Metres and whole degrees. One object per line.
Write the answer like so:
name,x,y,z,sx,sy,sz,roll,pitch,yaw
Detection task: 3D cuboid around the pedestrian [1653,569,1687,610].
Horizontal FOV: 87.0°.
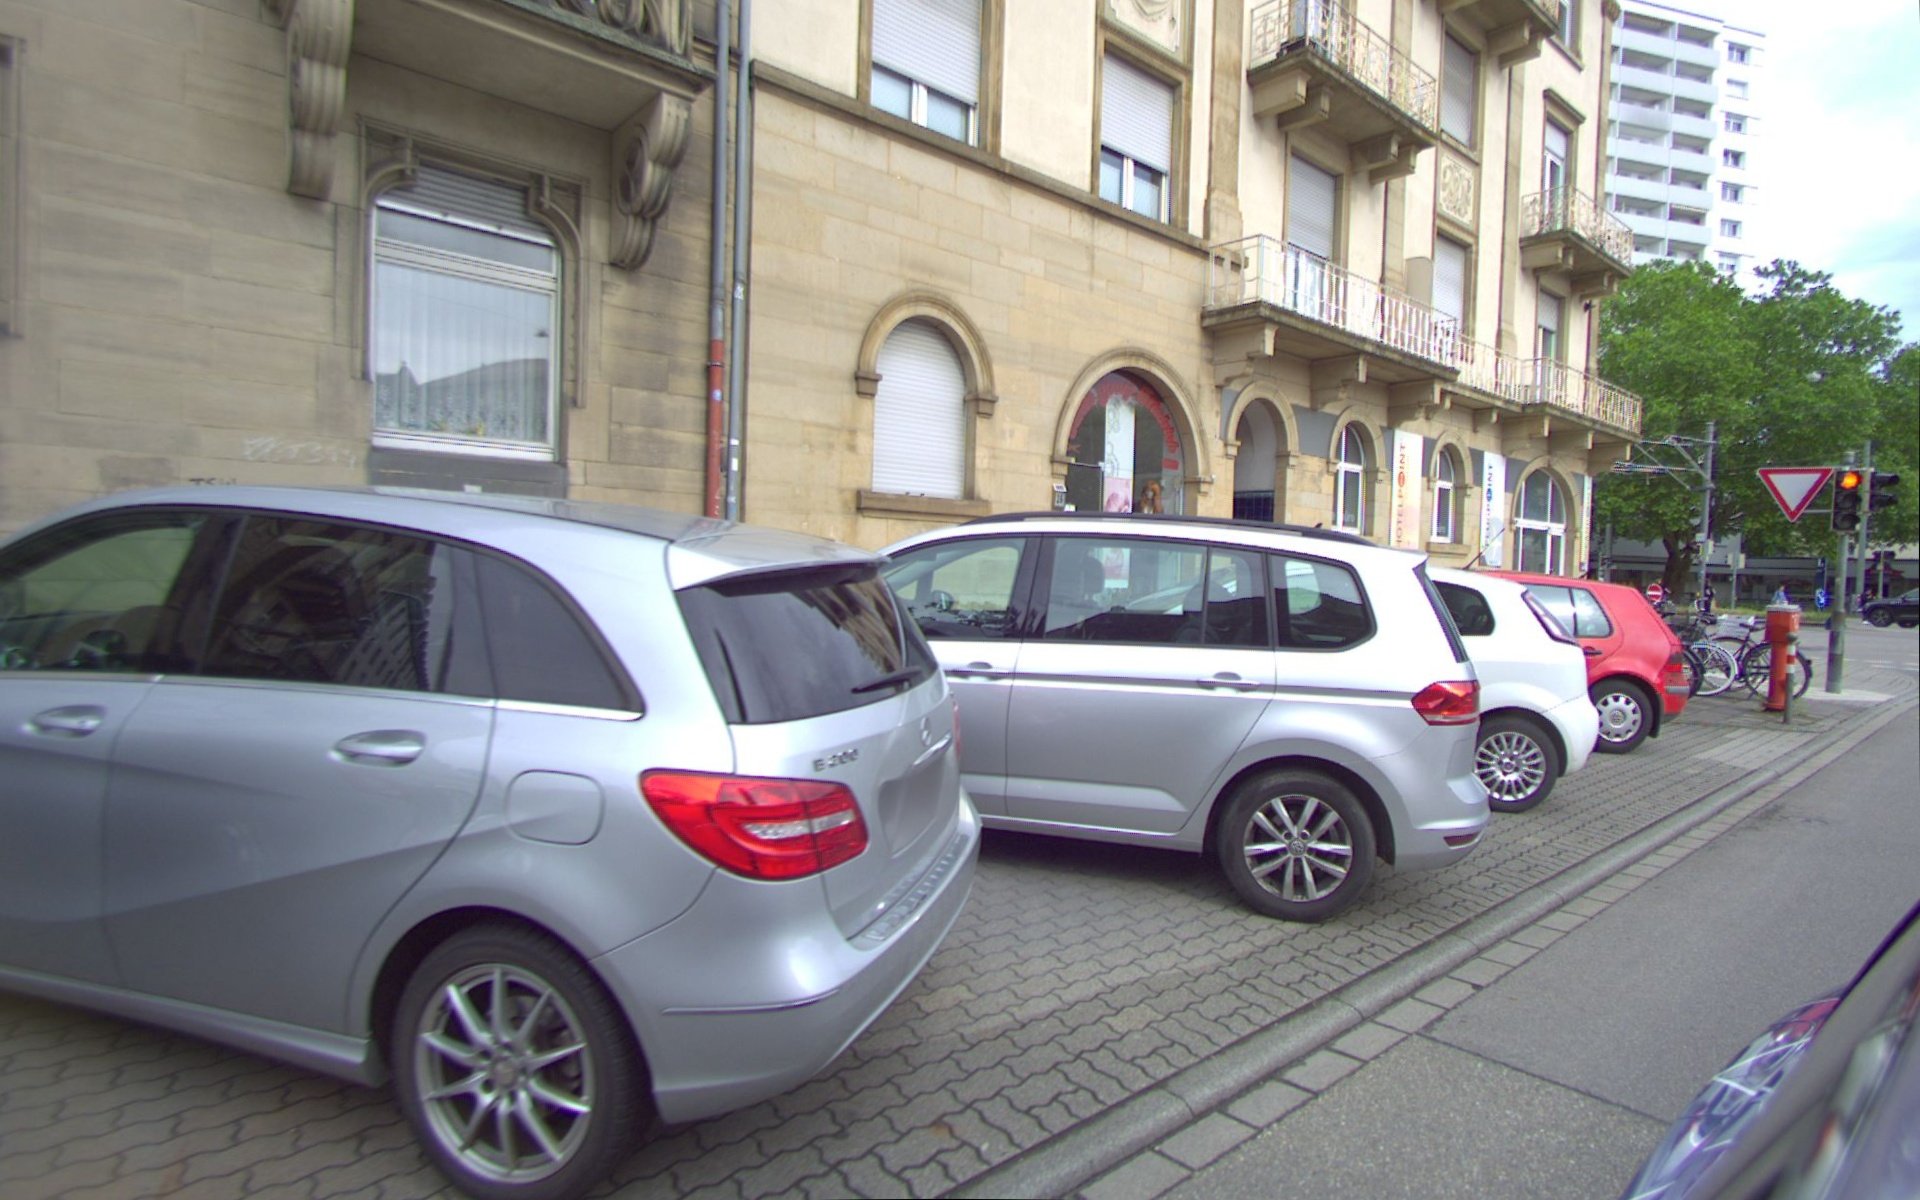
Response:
pedestrian,29.738,-0.444,42.376,0.727,1.716,0.881,-1,1,-15

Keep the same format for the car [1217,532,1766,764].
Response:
car,4.425,0.316,8.978,3.765,1.579,1.795,4,4,4

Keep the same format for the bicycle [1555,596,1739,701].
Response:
bicycle,8.337,0.552,12.350,0.468,1.051,1.737,-2,6,-41

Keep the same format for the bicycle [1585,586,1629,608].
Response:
bicycle,35.028,-0.181,54.844,0.714,1.077,1.997,2,1,-16

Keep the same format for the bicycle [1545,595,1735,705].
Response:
bicycle,7.917,0.546,11.859,0.468,1.051,1.737,-2,6,-41

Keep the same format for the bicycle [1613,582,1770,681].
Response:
bicycle,9.754,0.386,13.546,0.468,1.140,1.571,-1,6,-41

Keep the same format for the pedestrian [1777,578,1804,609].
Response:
pedestrian,40.815,-0.334,49.765,0.543,1.527,0.855,-1,2,-15

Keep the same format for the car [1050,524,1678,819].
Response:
car,2.482,0.341,7.055,3.529,1.526,1.846,4,4,8

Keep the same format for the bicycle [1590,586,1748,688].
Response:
bicycle,9.298,0.450,13.322,0.468,1.140,1.571,-1,6,-41

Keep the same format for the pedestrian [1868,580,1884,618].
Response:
pedestrian,39.941,-0.047,44.133,0.522,1.632,0.519,1,2,42

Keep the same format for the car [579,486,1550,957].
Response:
car,0.398,0.350,5.269,4.166,1.702,1.907,3,3,16

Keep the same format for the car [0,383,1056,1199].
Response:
car,-2.174,0.304,3.288,4.682,1.705,1.930,3,4,14

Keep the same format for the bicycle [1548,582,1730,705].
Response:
bicycle,7.622,0.443,11.426,0.468,1.186,1.571,-1,6,-41

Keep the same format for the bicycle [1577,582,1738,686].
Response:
bicycle,8.918,0.397,12.986,0.468,1.140,1.571,-1,6,-41

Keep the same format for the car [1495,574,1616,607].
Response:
car,31.379,-0.539,53.576,1.808,1.544,5.716,2,1,-18

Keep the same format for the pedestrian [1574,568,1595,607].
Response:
pedestrian,28.903,-0.581,46.873,0.609,1.772,0.549,-1,1,-15

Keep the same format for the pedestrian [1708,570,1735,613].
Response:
pedestrian,31.214,-0.357,41.484,0.642,1.772,0.629,-1,1,-14

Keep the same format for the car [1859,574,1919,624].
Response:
car,36.258,-0.020,36.878,1.672,1.805,5.162,-1,2,-15
